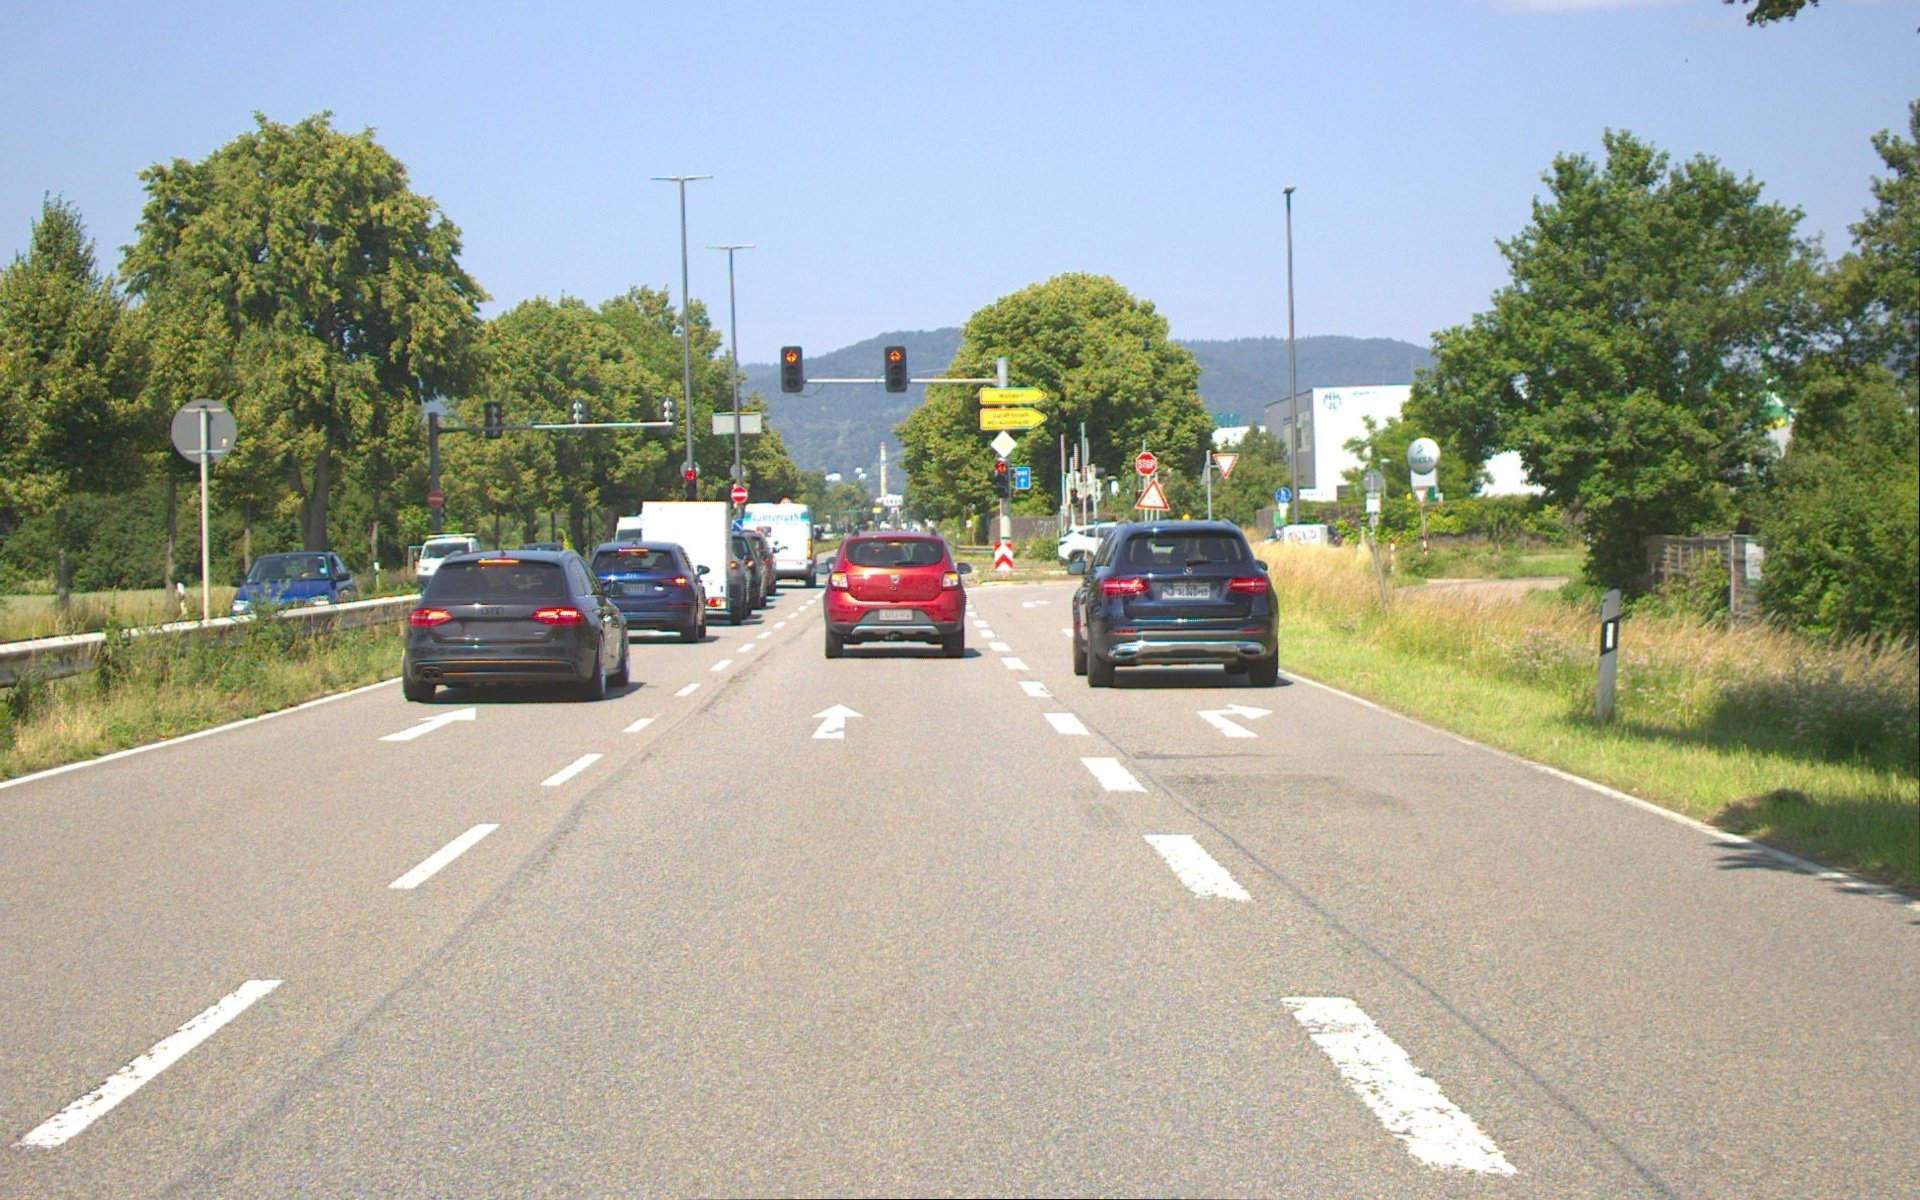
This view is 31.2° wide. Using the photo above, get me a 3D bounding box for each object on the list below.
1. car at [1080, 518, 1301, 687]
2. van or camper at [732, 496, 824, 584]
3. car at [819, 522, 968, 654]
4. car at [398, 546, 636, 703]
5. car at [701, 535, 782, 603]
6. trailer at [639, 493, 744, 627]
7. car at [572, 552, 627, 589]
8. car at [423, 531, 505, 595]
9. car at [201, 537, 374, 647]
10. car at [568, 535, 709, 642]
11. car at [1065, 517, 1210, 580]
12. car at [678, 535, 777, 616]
[{"bbox_3d":[2.274,-0.020,34.947,1.993,1.611,4.339,0,1,1],"label":"car"},{"bbox_3d":[-4.966,-1.657,94.390,2.179,2.295,4.827,-2,1,0],"label":"van or camper"},{"bbox_3d":[-0.795,-0.182,42.990,1.749,1.570,3.676,0,1,1],"label":"car"},{"bbox_3d":[-4.157,0.183,32.852,1.740,1.376,4.455,0,1,-1],"label":"car"},{"bbox_3d":[-5.323,-0.774,84.041,1.724,1.594,3.956,-1,1,0],"label":"car"},{"bbox_3d":[-4.548,-0.699,58.686,1.500,2.166,4.175,-1,1,-1],"label":"trailer"},{"bbox_3d":[-14.892,-1.231,142.030,1.879,1.449,4.505,-1,1,-1],"label":"car"},{"bbox_3d":[-15.883,-1.215,110.310,1.993,1.945,4.831,-1,1,-1],"label":"car"},{"bbox_3d":[-10.856,-0.164,55.788,1.993,1.657,4.481,-1,1,-1],"label":"car"},{"bbox_3d":[-4.569,-0.194,49.328,1.717,1.460,4.030,0,1,-1],"label":"car"},{"bbox_3d":[5.621,-1.647,109.272,4.490,1.861,1.885,-1,1,1],"label":"car"},{"bbox_3d":[-4.710,-0.519,69.962,1.723,1.570,3.893,-2,1,0],"label":"car"}]
